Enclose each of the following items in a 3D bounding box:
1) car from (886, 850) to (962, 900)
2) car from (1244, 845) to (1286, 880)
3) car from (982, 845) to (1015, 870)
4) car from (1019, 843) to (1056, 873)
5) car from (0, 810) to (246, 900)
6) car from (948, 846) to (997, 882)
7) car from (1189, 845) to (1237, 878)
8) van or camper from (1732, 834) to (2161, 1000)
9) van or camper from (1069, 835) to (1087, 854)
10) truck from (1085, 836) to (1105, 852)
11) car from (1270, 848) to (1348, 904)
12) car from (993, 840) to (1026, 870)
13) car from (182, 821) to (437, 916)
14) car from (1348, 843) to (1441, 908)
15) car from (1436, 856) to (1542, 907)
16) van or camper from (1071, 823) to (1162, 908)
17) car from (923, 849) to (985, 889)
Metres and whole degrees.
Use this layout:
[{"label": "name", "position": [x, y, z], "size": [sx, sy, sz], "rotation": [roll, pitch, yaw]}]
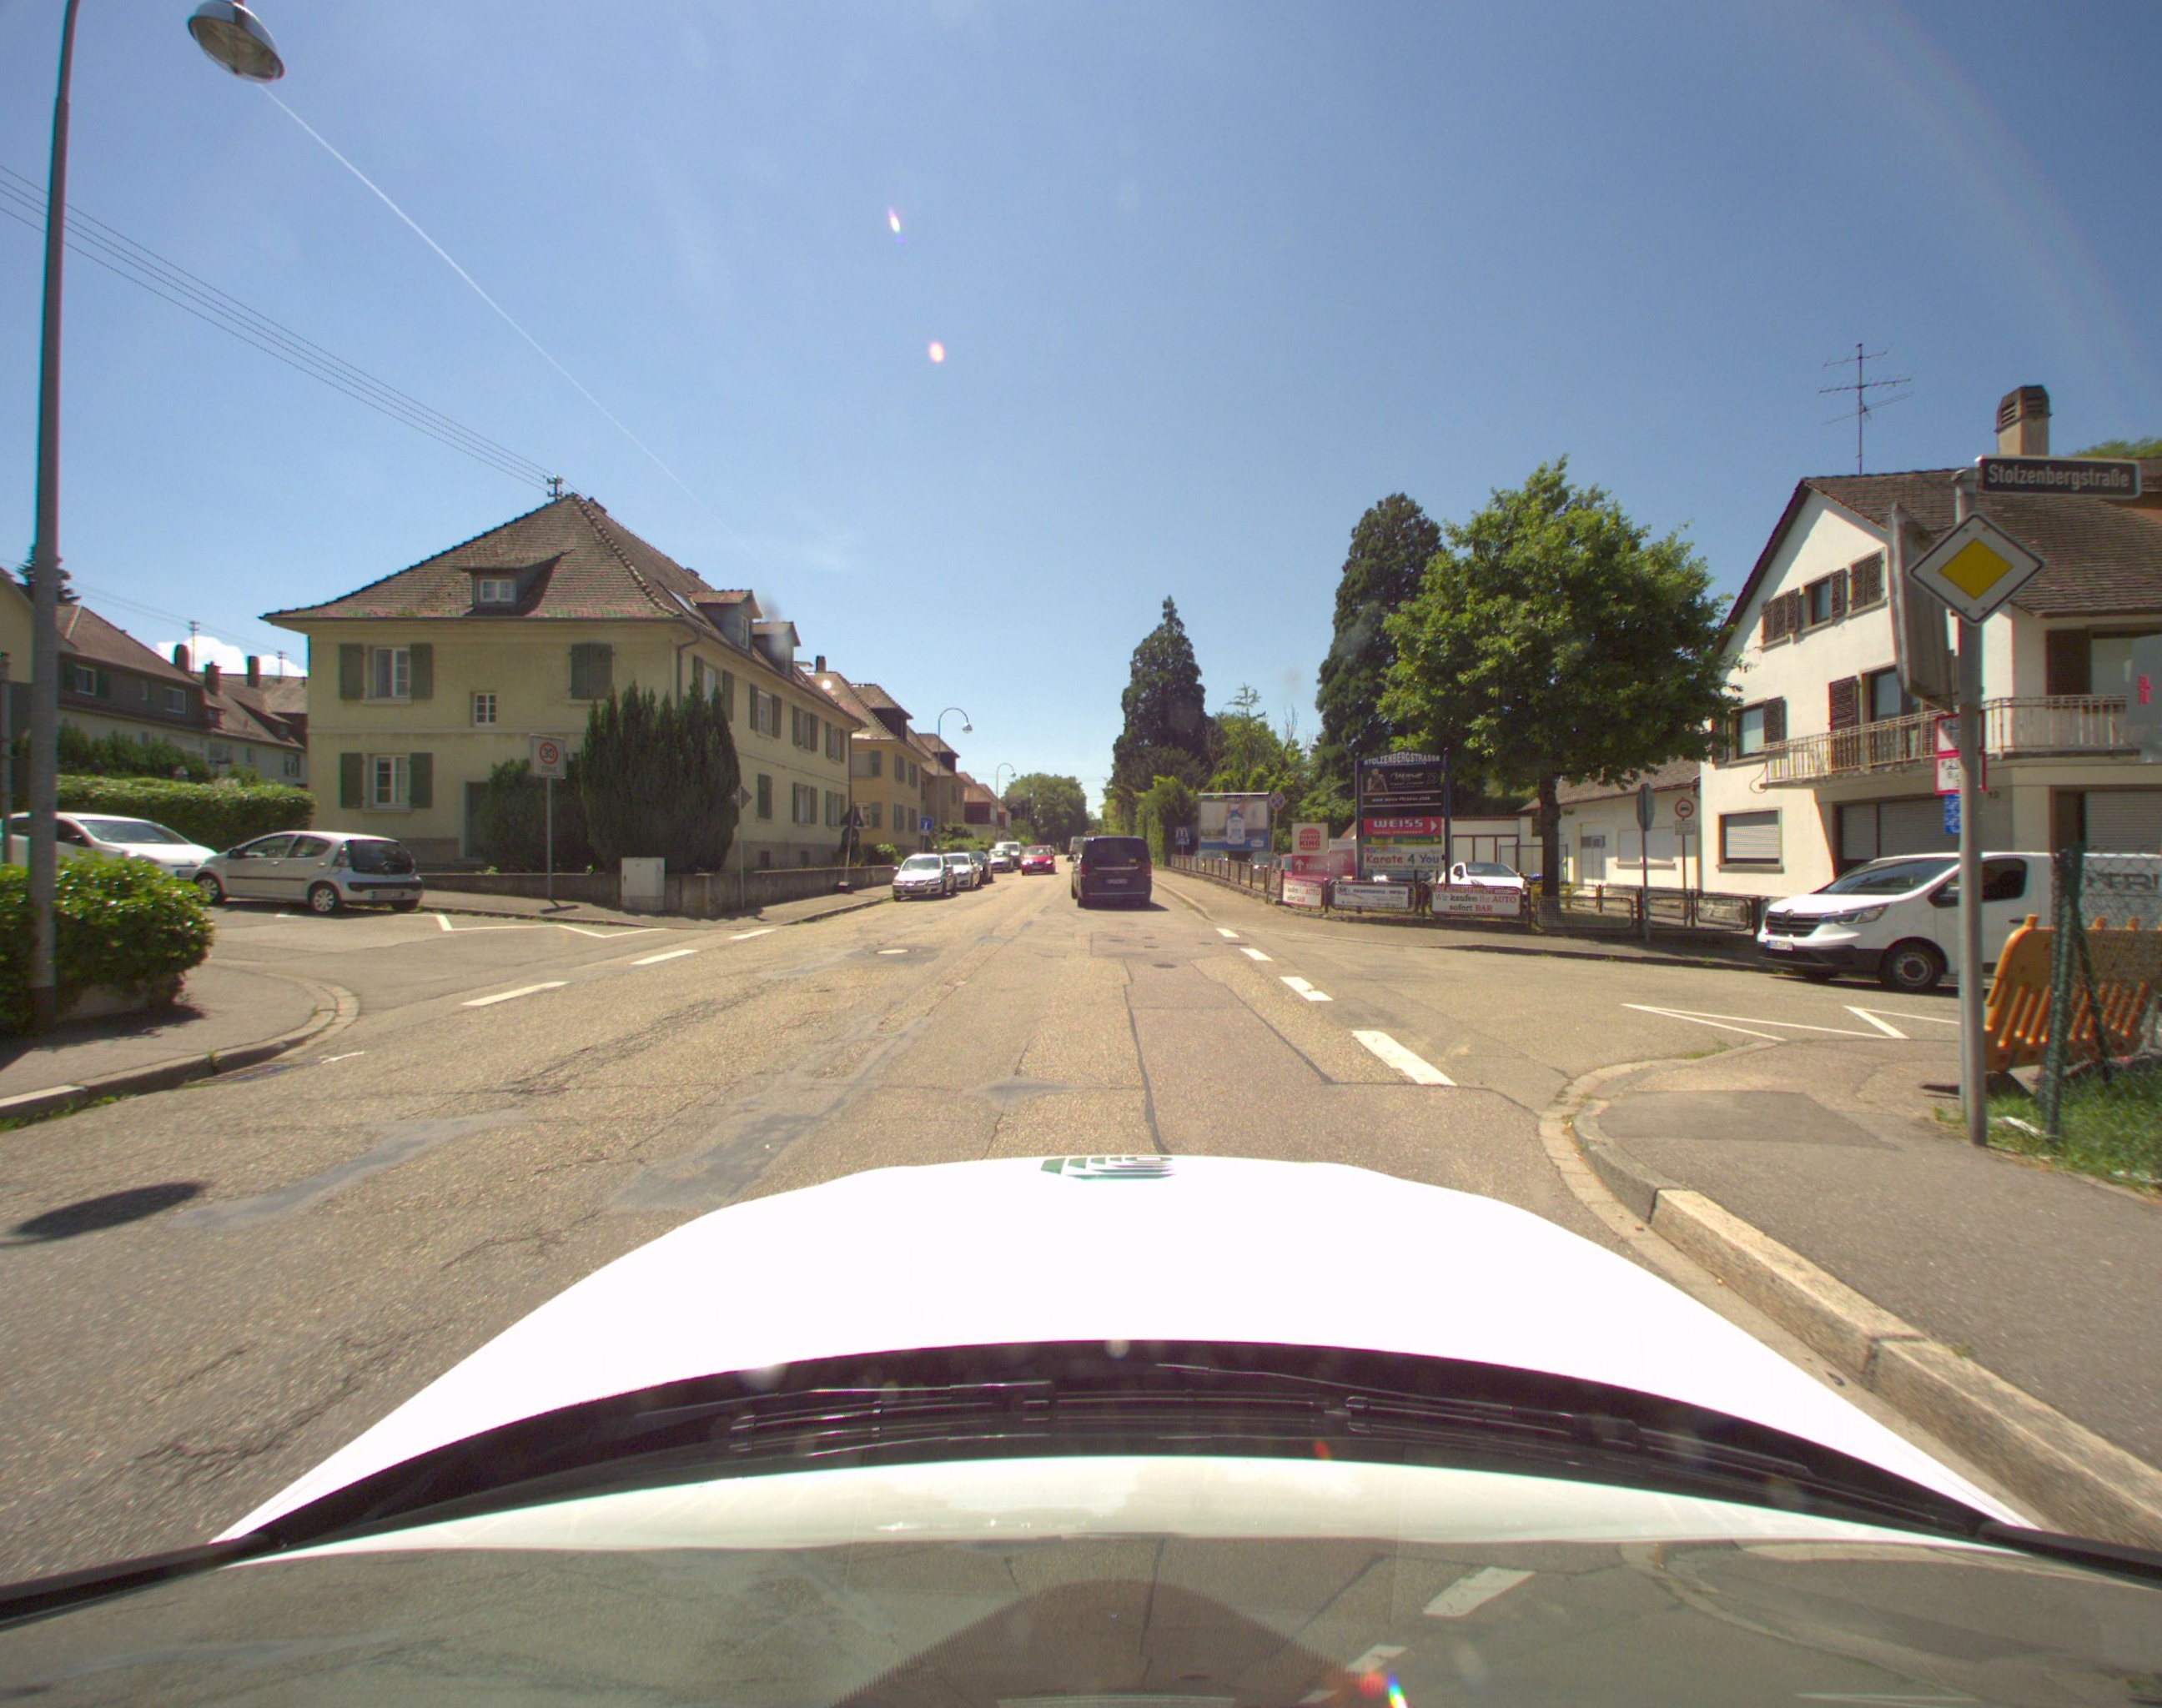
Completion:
[{"label": "car", "position": [-5.093, 0.637, 26.906], "size": [1.754, 1.447, 3.923], "rotation": [-2, 0, -1]}, {"label": "car", "position": [9.085, 0.394, 40.437], "size": [1.623, 1.543, 3.399], "rotation": [4, 0, 7]}, {"label": "car", "position": [-5.157, 0.186, 51.106], "size": [1.681, 1.525, 4.061], "rotation": [0, 1, -1]}, {"label": "car", "position": [-2.398, 0.181, 45.817], "size": [1.808, 1.566, 3.696], "rotation": [-1, 0, 0]}, {"label": "car", "position": [-18.382, 0.005, 15.382], "size": [3.562, 1.456, 1.752], "rotation": [3, 0, 7]}, {"label": "car", "position": [-4.875, 0.436, 37.119], "size": [1.711, 1.485, 4.074], "rotation": [-2, 0, -1]}, {"label": "car", "position": [6.490, 0.350, 40.308], "size": [1.627, 1.459, 3.554], "rotation": [3, 0, -2]}, {"label": "van or camper", "position": [12.750, 0.838, 11.457], "size": [5.313, 1.979, 2.005], "rotation": [2, -1, 9]}, {"label": "van or camper", "position": [-0.432, -1.273, 110.824], "size": [2.256, 2.528, 4.756], "rotation": [-2, 0, -2]}, {"label": "truck", "position": [2.050, -1.454, 120.617], "size": [2.351, 2.258, 6.084], "rotation": [0, 0, -4]}, {"label": "car", "position": [6.615, 0.578, 23.974], "size": [1.702, 1.523, 3.848], "rotation": [0, 0, 8]}, {"label": "car", "position": [-5.009, 0.011, 57.458], "size": [1.872, 1.963, 4.625], "rotation": [-3, 1, 0]}, {"label": "car", "position": [-14.378, 0.257, 15.294], "size": [3.185, 1.456, 1.738], "rotation": [4, 0, 7]}, {"label": "car", "position": [8.965, 0.554, 23.612], "size": [1.701, 1.665, 4.473], "rotation": [2, 1, 11]}, {"label": "car", "position": [11.331, 0.706, 22.828], "size": [1.702, 1.270, 3.393], "rotation": [0, 1, 9]}, {"label": "van or camper", "position": [0.813, 0.252, 22.190], "size": [1.899, 2.013, 5.263], "rotation": [1, 0, -4]}, {"label": "car", "position": [-4.890, 0.551, 31.882], "size": [1.789, 1.402, 4.217], "rotation": [-2, 0, -1]}]
